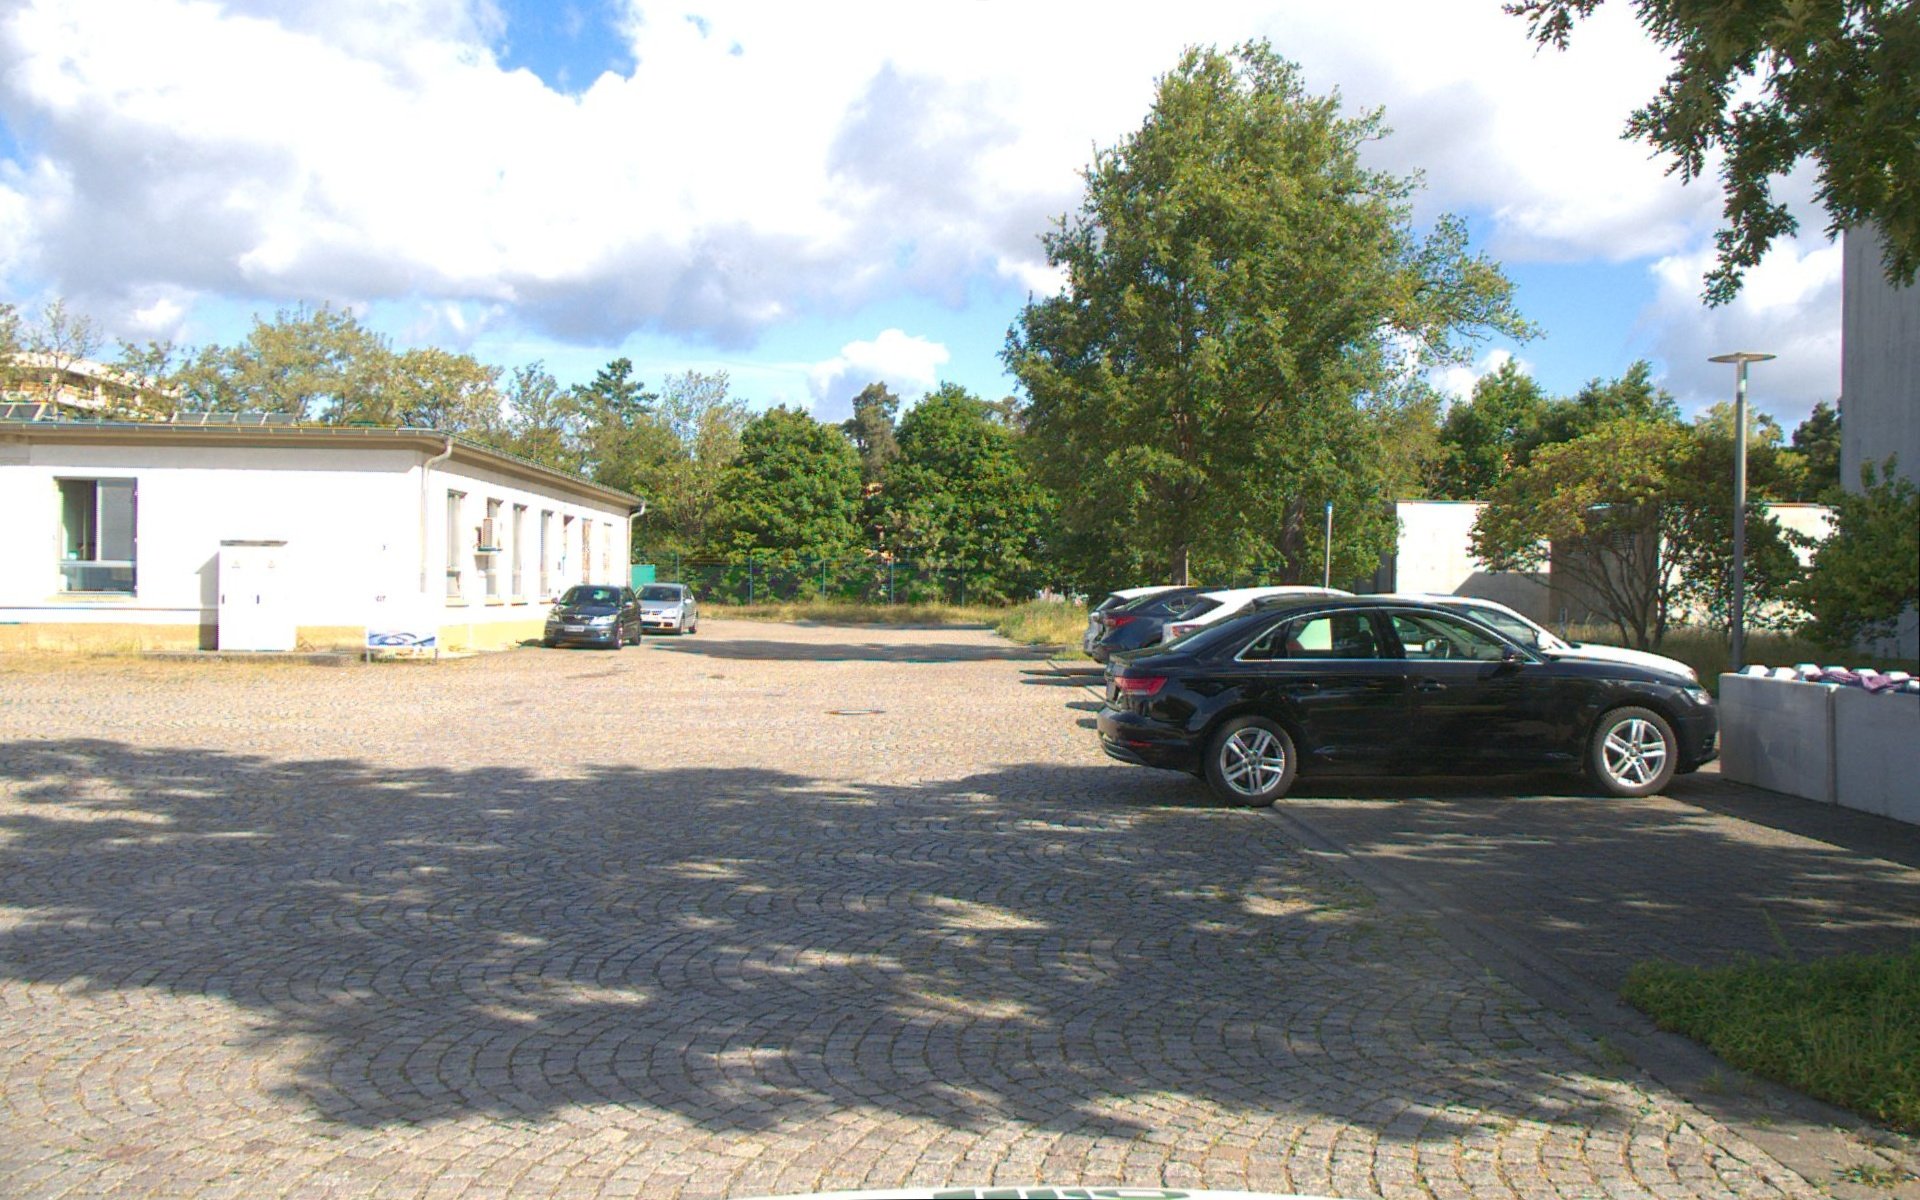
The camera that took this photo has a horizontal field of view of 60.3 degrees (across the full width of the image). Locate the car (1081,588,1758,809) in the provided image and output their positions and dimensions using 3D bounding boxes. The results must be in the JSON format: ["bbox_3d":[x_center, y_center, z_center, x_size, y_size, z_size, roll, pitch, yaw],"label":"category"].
[{"bbox_3d":[3.335,0.686,12.554,4.624,1.448,1.756,-1,0,-3],"label":"car"}]

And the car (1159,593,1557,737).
[{"bbox_3d":[4.179,0.659,17.771,3.833,1.396,1.728,-1,0,-1],"label":"car"}]

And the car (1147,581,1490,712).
[{"bbox_3d":[4.343,0.545,20.457,3.833,1.472,1.755,-1,0,-1],"label":"car"}]

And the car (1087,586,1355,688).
[{"bbox_3d":[3.957,0.545,25.517,3.833,1.442,1.692,-1,0,-1],"label":"car"}]

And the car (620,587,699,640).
[{"bbox_3d":[-8.827,0.374,48.843,1.652,1.460,3.986,1,0,-1],"label":"car"}]

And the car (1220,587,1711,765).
[{"bbox_3d":[4.537,0.663,15.322,4.051,1.485,1.692,-1,0,3],"label":"car"}]

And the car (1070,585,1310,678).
[{"bbox_3d":[3.870,0.511,28.316,3.833,1.460,1.795,-1,0,-1],"label":"car"}]

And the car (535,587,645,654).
[{"bbox_3d":[-8.620,0.449,38.842,1.727,1.460,3.991,1,0,-1],"label":"car"}]
